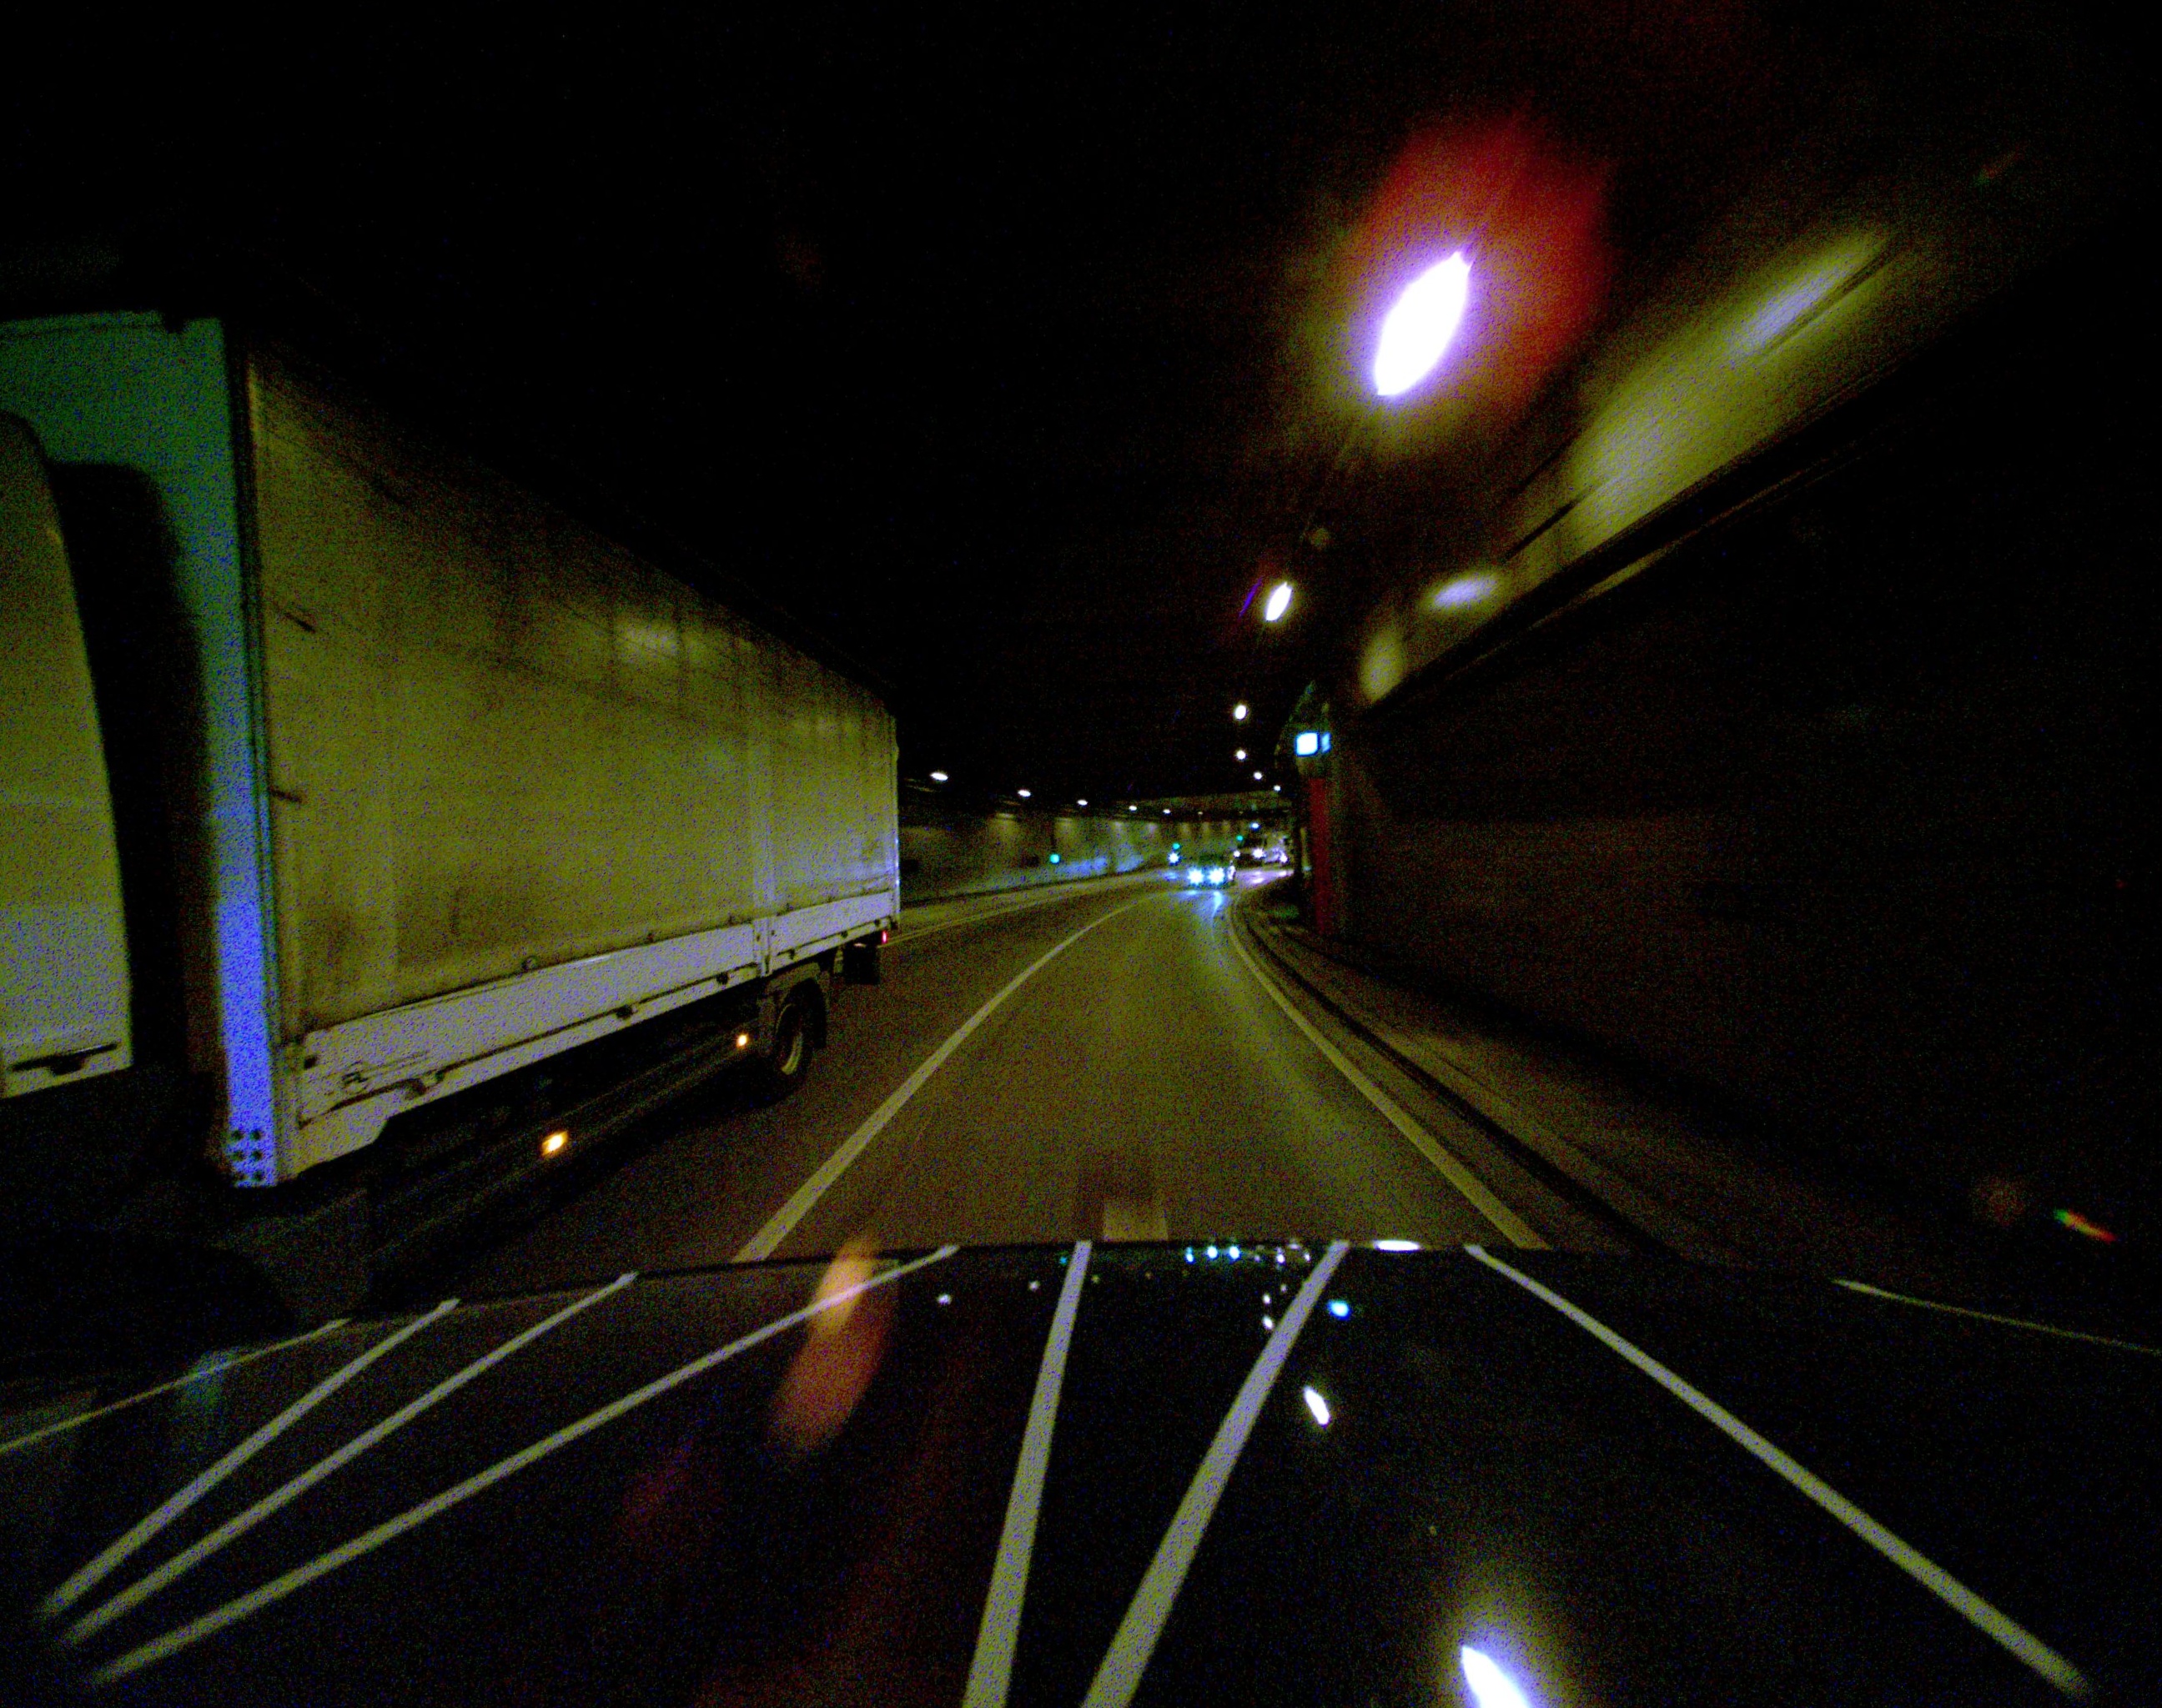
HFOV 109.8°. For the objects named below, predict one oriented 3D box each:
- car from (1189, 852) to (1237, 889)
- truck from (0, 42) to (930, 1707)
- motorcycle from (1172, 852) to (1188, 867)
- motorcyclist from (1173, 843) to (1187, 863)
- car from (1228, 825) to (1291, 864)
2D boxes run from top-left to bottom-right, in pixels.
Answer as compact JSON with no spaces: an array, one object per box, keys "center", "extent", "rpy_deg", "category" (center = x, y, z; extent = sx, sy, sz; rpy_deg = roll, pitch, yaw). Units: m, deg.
[{"center":[5.981,0.694,34.111],"extent":[1.720,1.455,4.004],"rpy_deg":[-3,1,15],"category":"car"},{"center":[-3.105,0.129,3.704],"extent":[2.635,3.220,7.417],"rpy_deg":[-3,1,4],"category":"truck"},{"center":[7.489,0.419,57.369],"extent":[0.549,0.970,1.838],"rpy_deg":[-4,1,28],"category":"motorcycle"},{"center":[7.480,-0.070,57.444],"extent":[0.745,1.482,0.788],"rpy_deg":[-4,1,28],"category":"motorcyclist"},{"center":[14.031,-0.779,59.162],"extent":[2.555,2.752,7.363],"rpy_deg":[-2,1,31],"category":"car"}]
